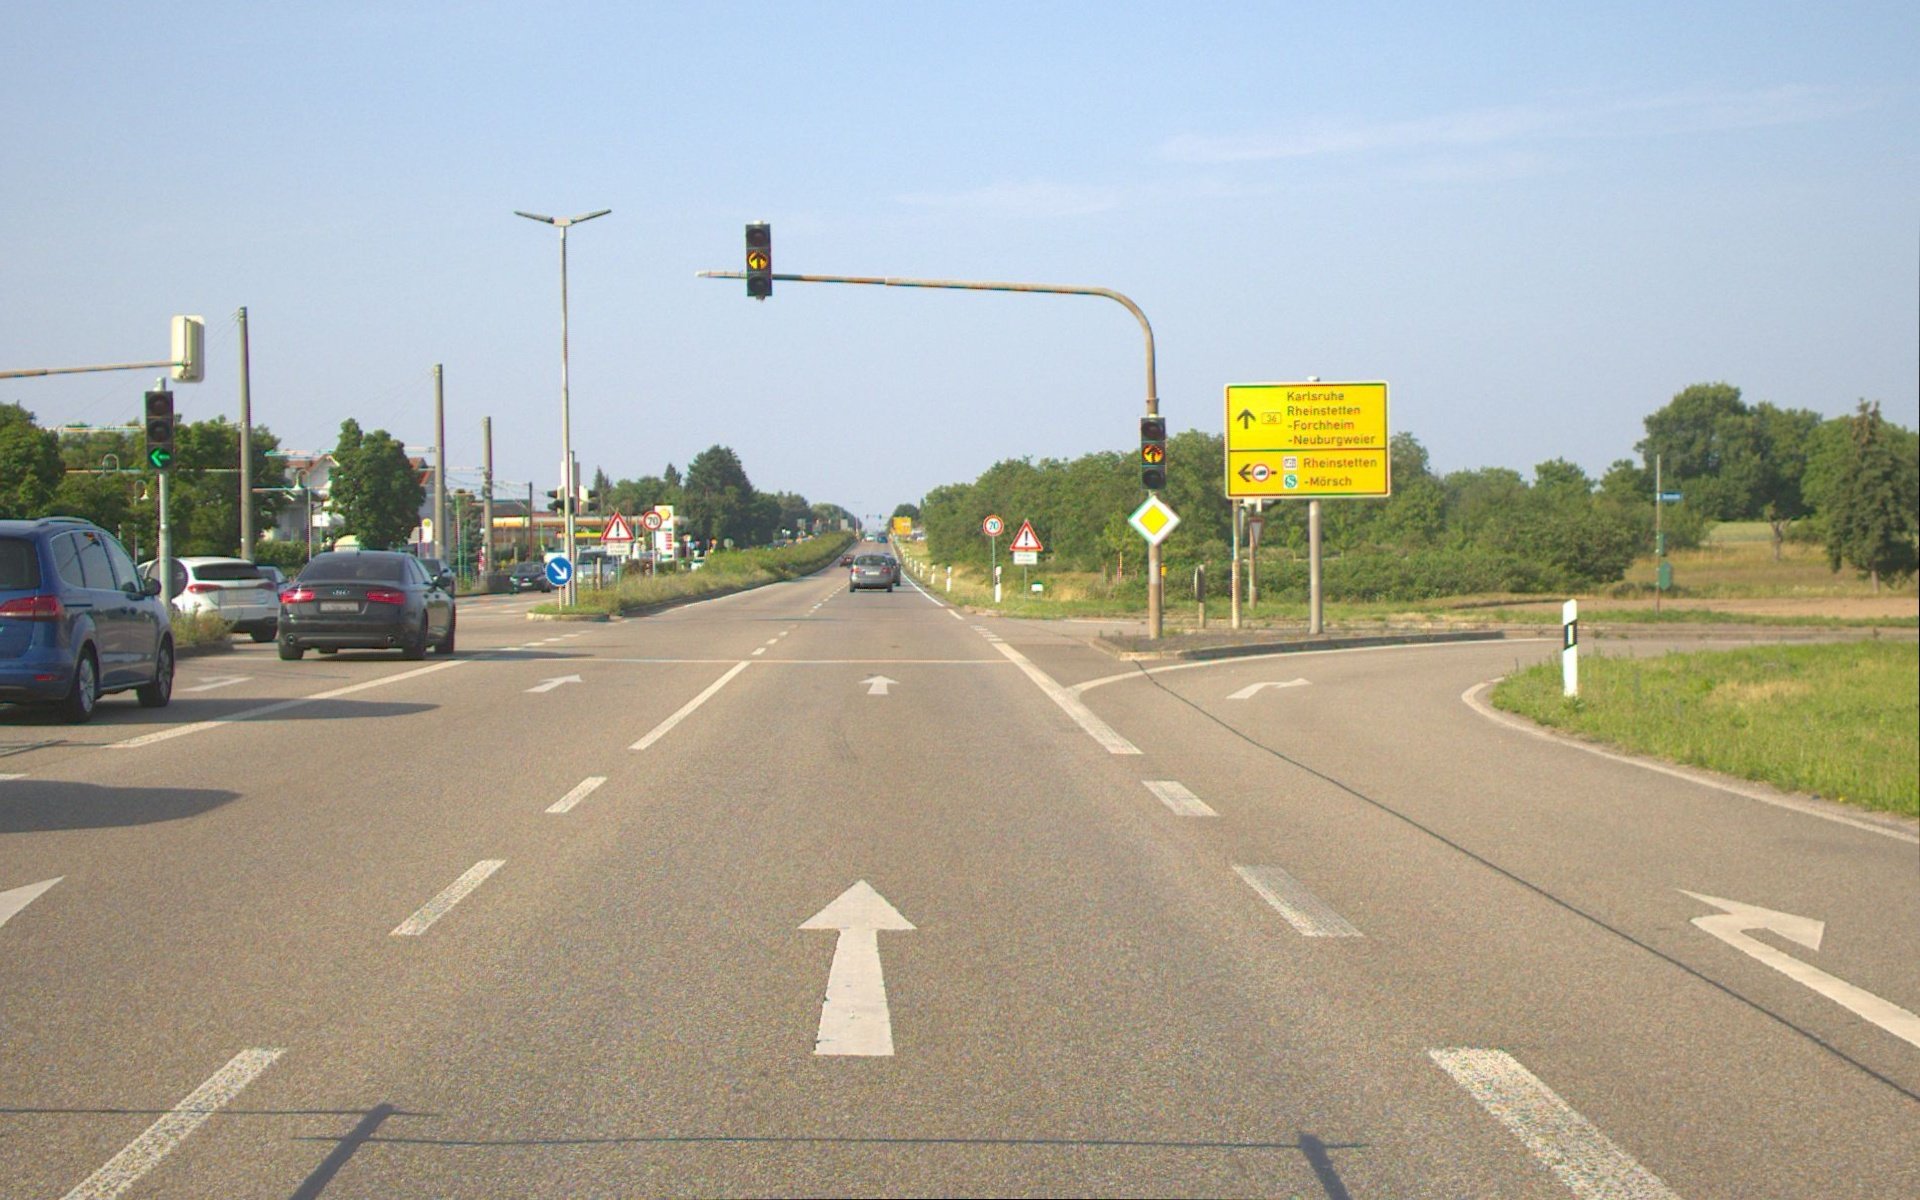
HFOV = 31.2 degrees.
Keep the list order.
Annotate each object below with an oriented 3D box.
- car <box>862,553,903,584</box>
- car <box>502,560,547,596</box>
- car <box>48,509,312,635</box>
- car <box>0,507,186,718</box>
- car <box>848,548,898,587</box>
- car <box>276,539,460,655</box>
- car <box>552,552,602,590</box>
[{"bbox_3d":[-3.916,-1.607,174.011,1.993,1.546,4.000,0,1,-1],"label":"car"},{"bbox_3d":[-20.611,-1.055,162.658,1.688,1.656,3.758,0,1,-1],"label":"car"},{"bbox_3d":[-12.857,-0.477,56.641,3.993,2.007,1.832,0,1,27],"label":"car"},{"bbox_3d":[-8.029,0.062,29.562,1.770,1.673,4.520,0,1,-1],"label":"car"},{"bbox_3d":[-3.564,-1.351,141.824,1.993,1.546,4.000,0,1,-1],"label":"car"},{"bbox_3d":[-7.768,-0.075,45.401,1.770,1.466,4.015,0,1,-1],"label":"car"},{"bbox_3d":[-16.955,-1.270,152.368,1.799,1.617,3.622,1,0,-1],"label":"car"}]
